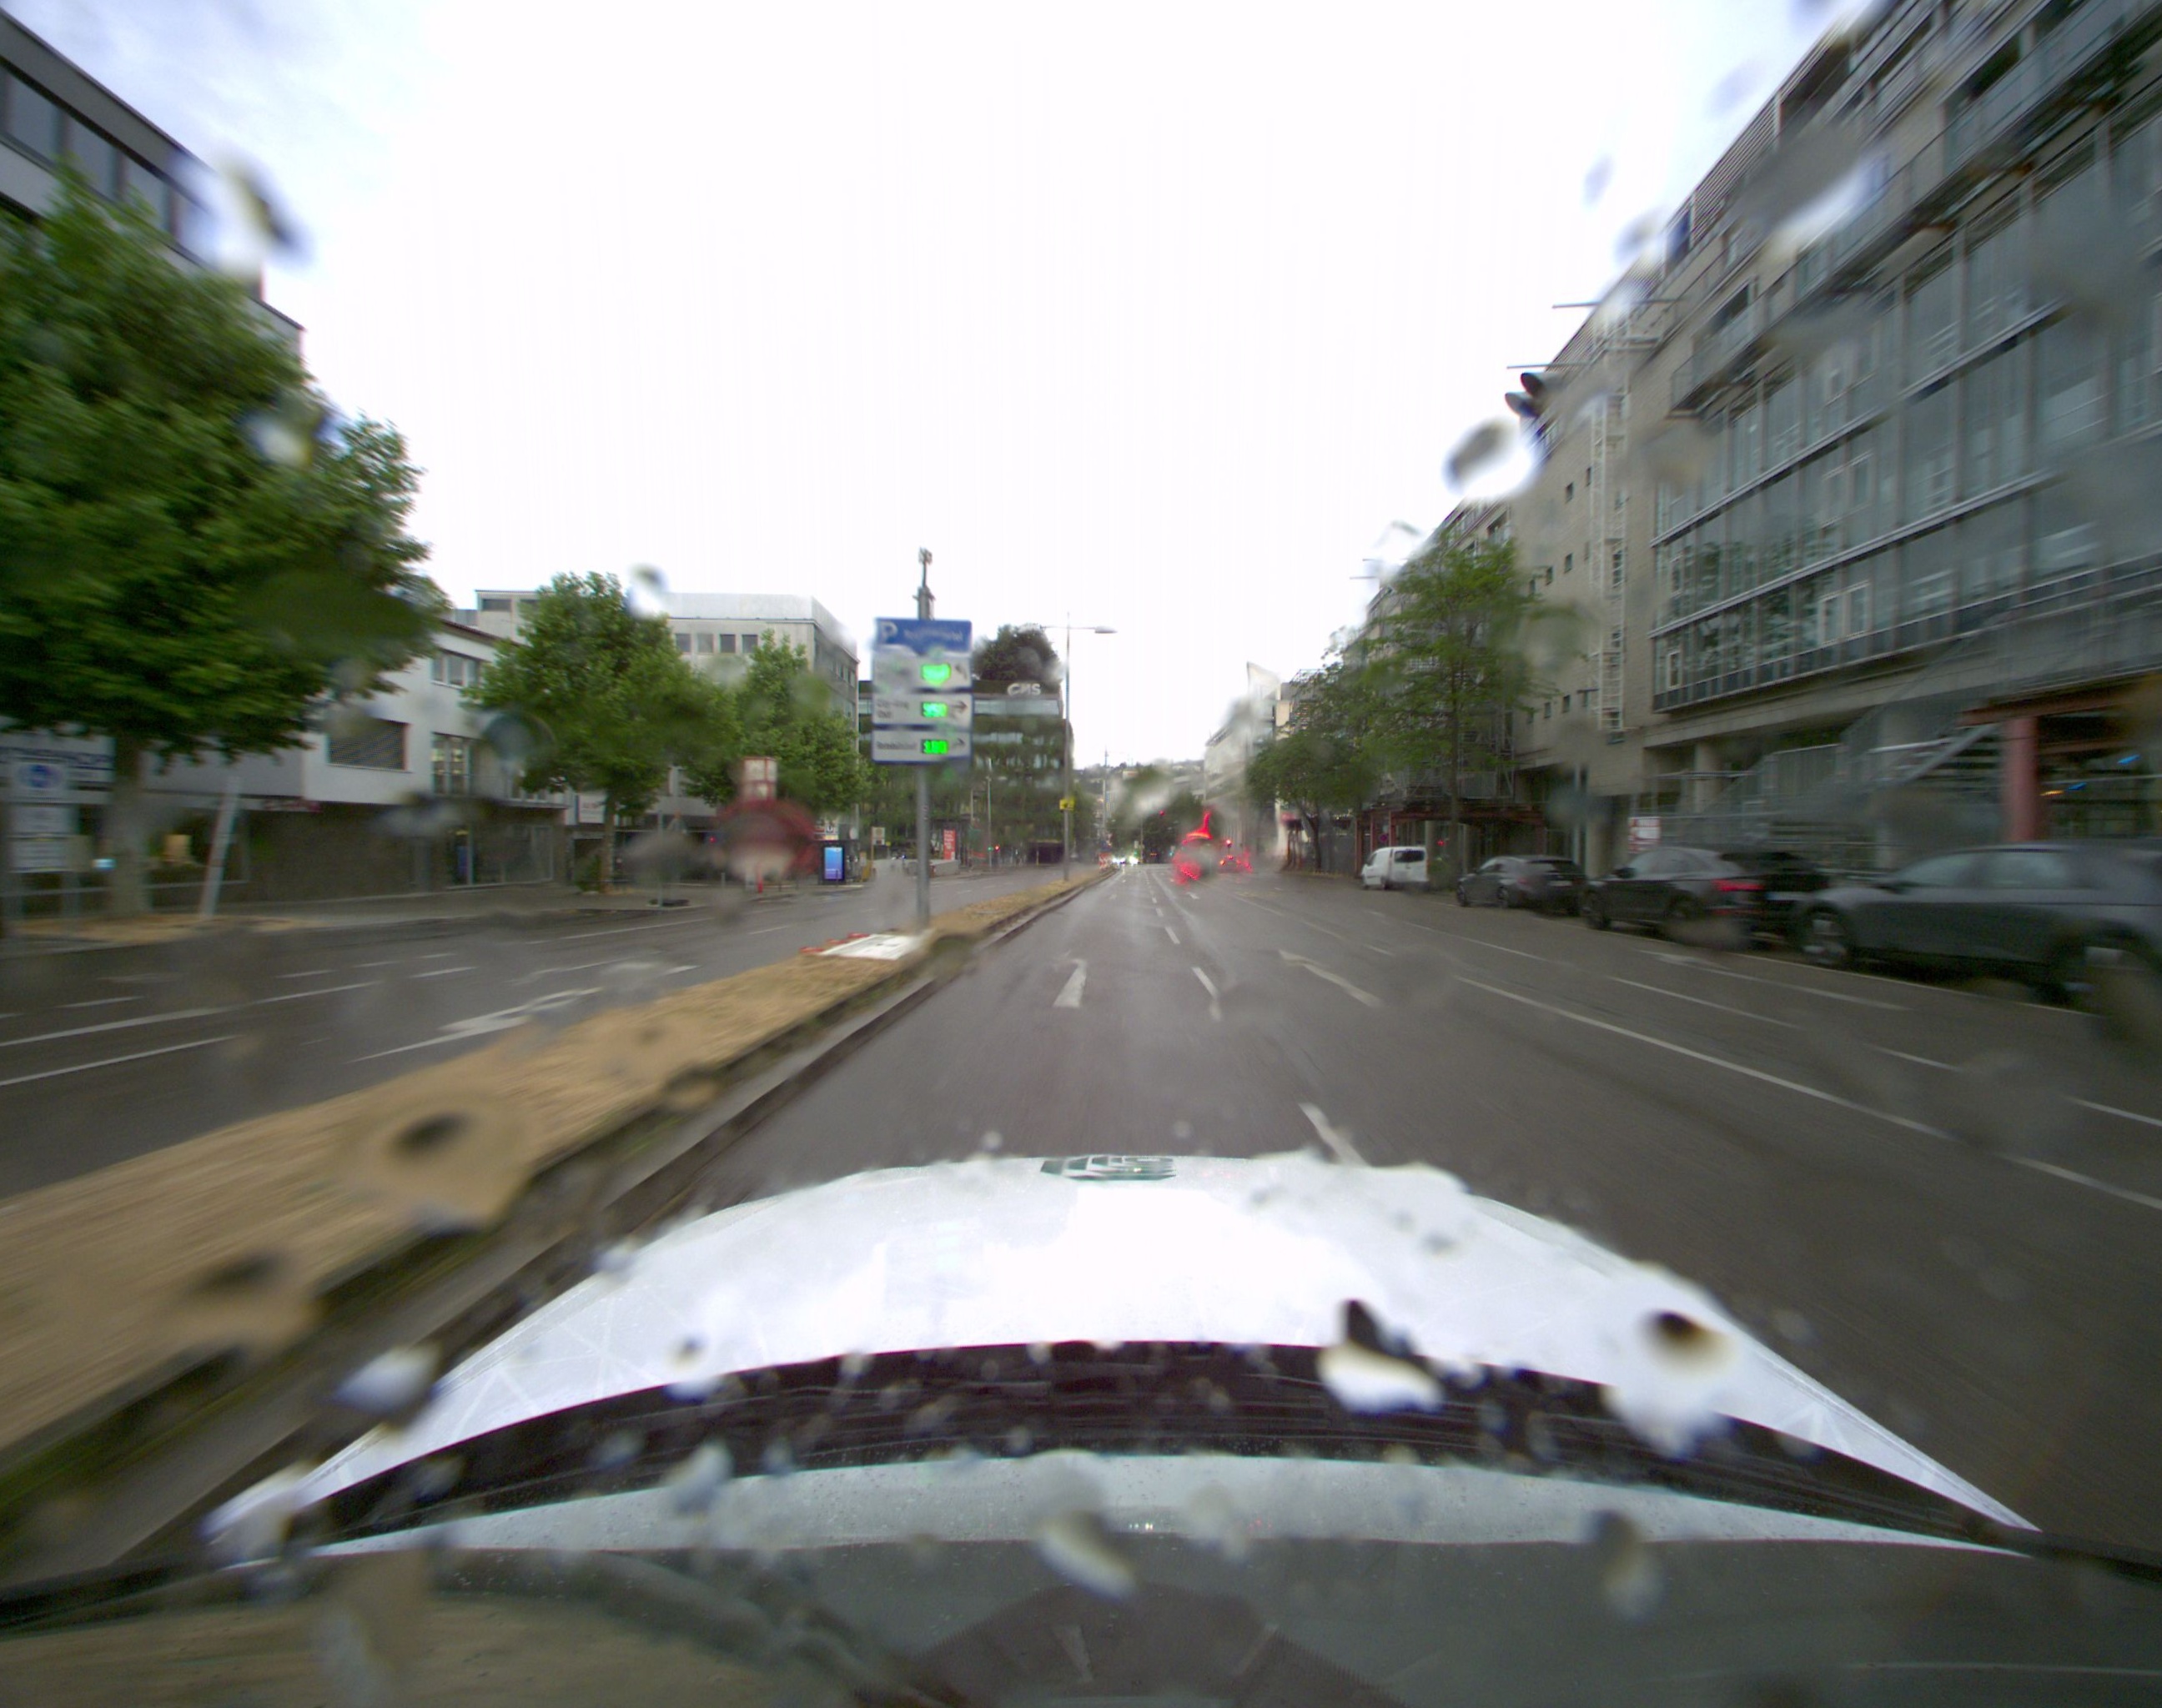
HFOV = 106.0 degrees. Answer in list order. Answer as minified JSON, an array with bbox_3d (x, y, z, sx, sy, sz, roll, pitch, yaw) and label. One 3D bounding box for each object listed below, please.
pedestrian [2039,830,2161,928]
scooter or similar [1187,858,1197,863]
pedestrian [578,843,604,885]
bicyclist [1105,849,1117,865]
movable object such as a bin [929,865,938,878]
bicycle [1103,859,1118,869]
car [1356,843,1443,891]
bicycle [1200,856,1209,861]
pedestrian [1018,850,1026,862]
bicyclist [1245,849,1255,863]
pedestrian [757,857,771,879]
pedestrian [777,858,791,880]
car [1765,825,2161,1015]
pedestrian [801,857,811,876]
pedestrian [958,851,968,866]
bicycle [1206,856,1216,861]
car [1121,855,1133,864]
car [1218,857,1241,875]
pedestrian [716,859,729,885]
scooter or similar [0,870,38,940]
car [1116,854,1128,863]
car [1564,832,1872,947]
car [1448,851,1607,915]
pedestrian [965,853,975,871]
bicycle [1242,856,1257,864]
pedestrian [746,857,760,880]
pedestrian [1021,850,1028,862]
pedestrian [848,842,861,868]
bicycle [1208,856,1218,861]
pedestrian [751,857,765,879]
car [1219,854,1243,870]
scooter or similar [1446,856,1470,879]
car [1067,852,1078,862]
[{"bbox_3d":[17.428,0.409,13.915,0.816,1.596,1.113,0,0,0],"label":"pedestrian"},{"bbox_3d":[21.356,1.220,156.930,1.749,0.878,0.487,-1,-1,-15],"label":"scooter or similar"},{"bbox_3d":[-21.209,0.435,35.282,0.692,1.763,0.654,-1,-1,6],"label":"pedestrian"},{"bbox_3d":[3.225,0.361,88.012,0.838,1.704,1.306,-1,0,21],"label":"bicyclist"},{"bbox_3d":[-10.552,1.230,58.372,0.530,0.897,0.681,-2,0,-5],"label":"movable object such as a bin"},{"bbox_3d":[3.186,1.085,88.021,0.838,1.103,2.164,-1,0,22],"label":"bicycle"},{"bbox_3d":[12.670,0.488,32.701,1.984,1.750,4.532,-1,0,4],"label":"car"},{"bbox_3d":[22.703,0.884,149.729,1.785,0.934,0.476,-1,0,7],"label":"bicycle"},{"bbox_3d":[-8.770,0.359,120.662,0.938,1.758,1.164,-1,0,-19],"label":"pedestrian"},{"bbox_3d":[24.512,0.270,117.937,0.797,1.975,1.102,0,-1,-36],"label":"bicyclist"},{"bbox_3d":[-21.200,0.905,54.451,0.725,1.450,0.691,0,0,-3],"label":"pedestrian"},{"bbox_3d":[-19.498,0.981,53.462,0.687,1.450,0.708,0,0,0],"label":"pedestrian"},{"bbox_3d":[10.172,0.536,8.861,1.853,1.601,4.598,-1,0,4],"label":"car"},{"bbox_3d":[-20.441,0.922,60.513,0.601,1.450,0.588,0,0,-1],"label":"pedestrian"},{"bbox_3d":[-13.181,0.487,90.812,0.917,1.585,0.834,-4,0,0],"label":"pedestrian"},{"bbox_3d":[22.843,0.803,142.773,0.478,0.934,1.778,0,0,-45],"label":"bicycle"},{"bbox_3d":[7.702,0.896,136.414,1.985,1.550,4.559,-1,0,3],"label":"car"},{"bbox_3d":[13.530,1.063,74.240,1.769,1.540,4.154,-1,0,6],"label":"car"},{"bbox_3d":[-22.399,1.126,50.876,0.595,1.571,0.604,-1,-1,-6],"label":"pedestrian"},{"bbox_3d":[-18.490,0.874,13.446,0.771,1.121,1.326,2,3,5],"label":"scooter or similar"},{"bbox_3d":[8.800,0.943,173.381,2.169,1.823,4.641,-1,0,-1],"label":"car"},{"bbox_3d":[10.652,0.516,14.223,1.983,1.646,4.871,-1,0,6],"label":"car"},{"bbox_3d":[11.273,0.665,21.000,1.859,1.437,4.930,-1,0,6],"label":"car"},{"bbox_3d":[-11.682,0.830,85.871,0.803,1.885,0.866,-4,0,-2],"label":"pedestrian"},{"bbox_3d":[24.423,0.907,118.092,0.797,1.117,2.230,0,0,-36],"label":"bicycle"},{"bbox_3d":[-21.263,0.935,52.762,0.687,1.450,0.547,0,0,0],"label":"pedestrian"},{"bbox_3d":[-8.402,0.268,120.750,0.743,1.758,0.970,-1,0,-19],"label":"pedestrian"},{"bbox_3d":[-16.698,0.060,60.012,0.687,1.885,0.758,0,0,0],"label":"pedestrian"},{"bbox_3d":[22.931,0.794,141.798,0.478,0.934,1.778,0,0,-45],"label":"bicycle"},{"bbox_3d":[-21.192,0.927,53.402,0.687,1.450,0.583,0,0,1],"label":"pedestrian"},{"bbox_3d":[15.029,0.741,81.477,1.689,1.529,4.448,-1,0,19],"label":"car"},{"bbox_3d":[20.050,0.698,43.325,0.628,1.161,1.549,-1,0,4],"label":"scooter or similar"},{"bbox_3d":[-1.527,0.525,146.942,1.987,1.895,4.464,-1,0,0],"label":"car"}]
